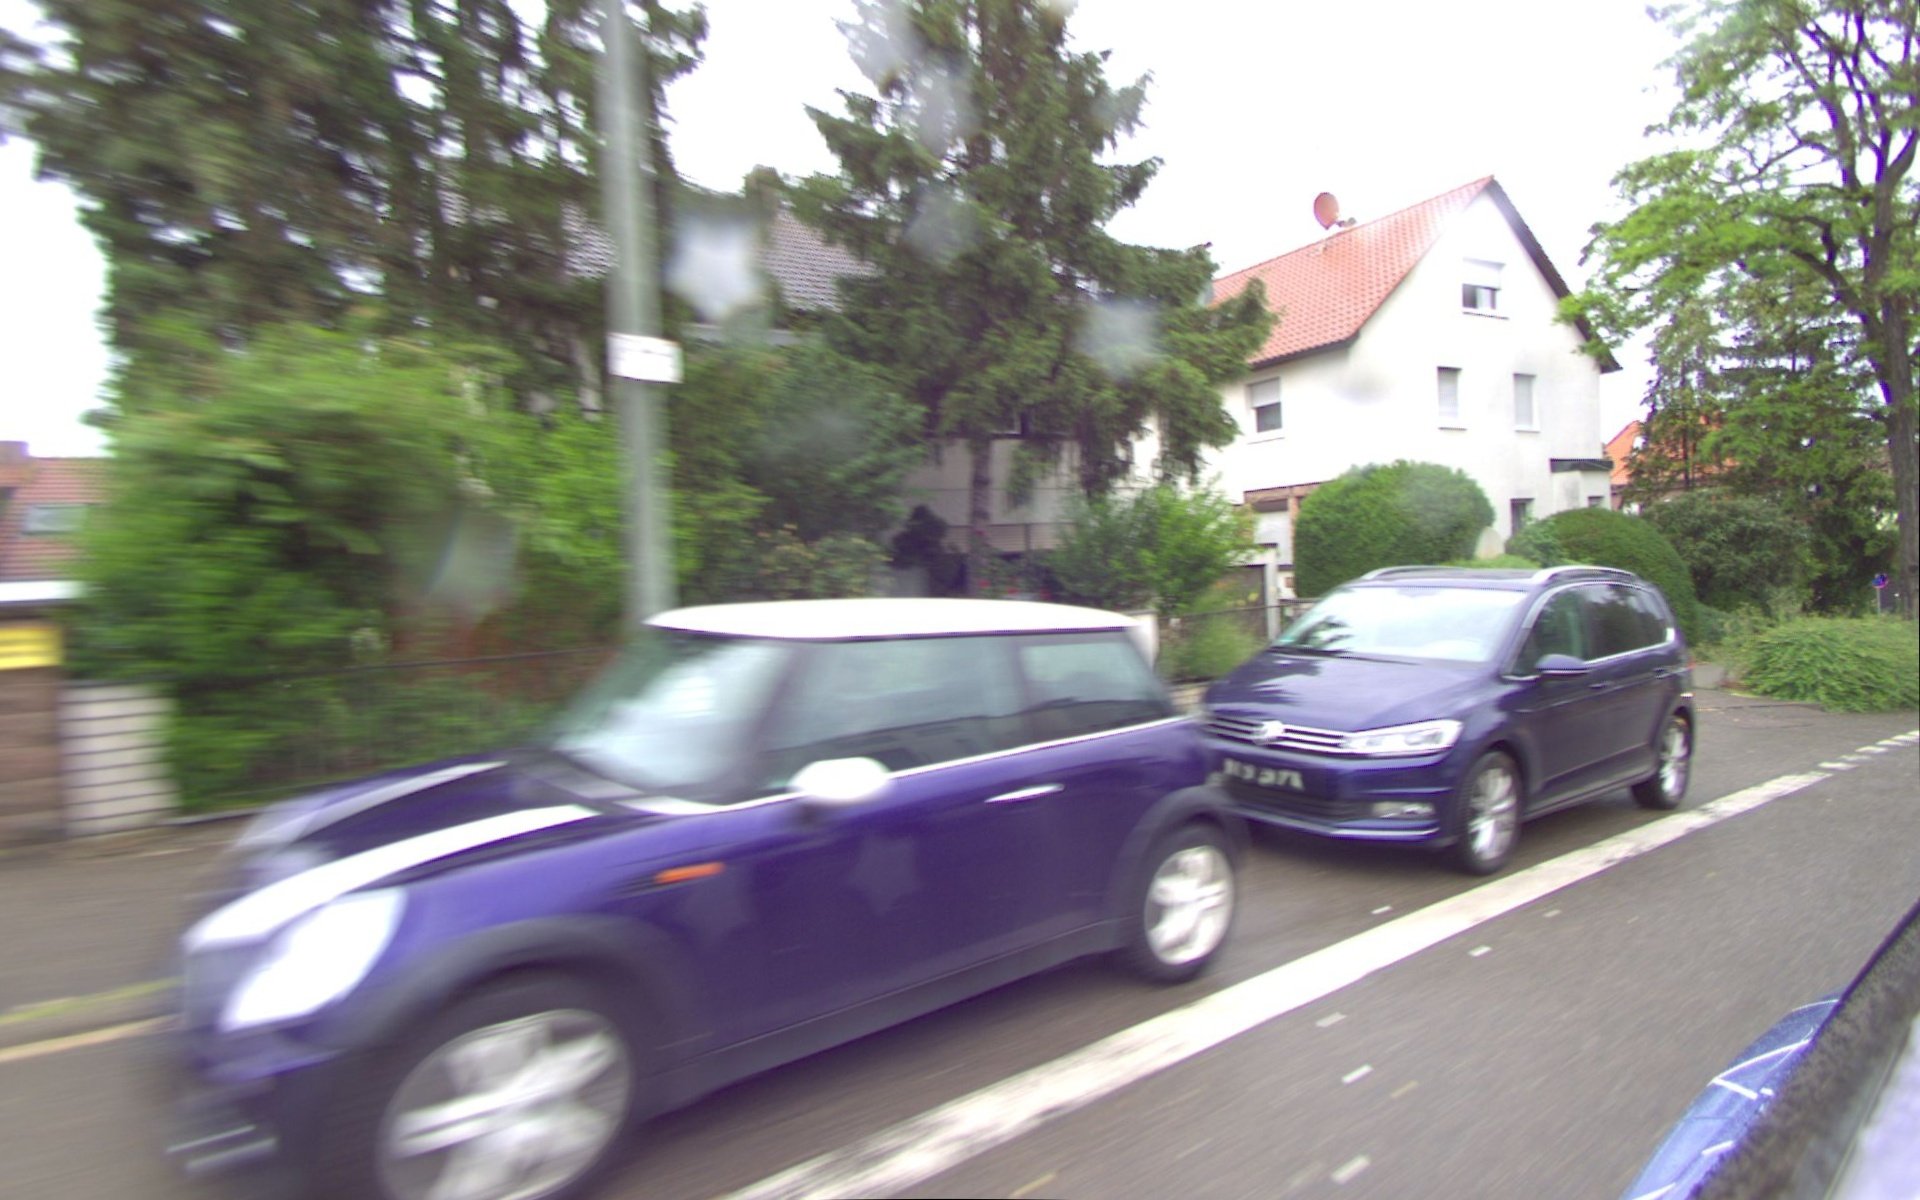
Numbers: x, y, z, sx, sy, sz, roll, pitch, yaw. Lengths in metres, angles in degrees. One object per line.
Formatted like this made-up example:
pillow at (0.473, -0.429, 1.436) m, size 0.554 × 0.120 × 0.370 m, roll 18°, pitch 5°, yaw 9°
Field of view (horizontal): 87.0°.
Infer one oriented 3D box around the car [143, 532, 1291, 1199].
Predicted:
car at (-0.568, 0.595, 3.609) m, size 3.634 × 1.475 × 1.637 m, roll 0°, pitch 1°, yaw -39°

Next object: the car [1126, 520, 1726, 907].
car at (3.239, 0.484, 6.611) m, size 4.380 × 1.722 × 1.833 m, roll 0°, pitch 1°, yaw -39°
